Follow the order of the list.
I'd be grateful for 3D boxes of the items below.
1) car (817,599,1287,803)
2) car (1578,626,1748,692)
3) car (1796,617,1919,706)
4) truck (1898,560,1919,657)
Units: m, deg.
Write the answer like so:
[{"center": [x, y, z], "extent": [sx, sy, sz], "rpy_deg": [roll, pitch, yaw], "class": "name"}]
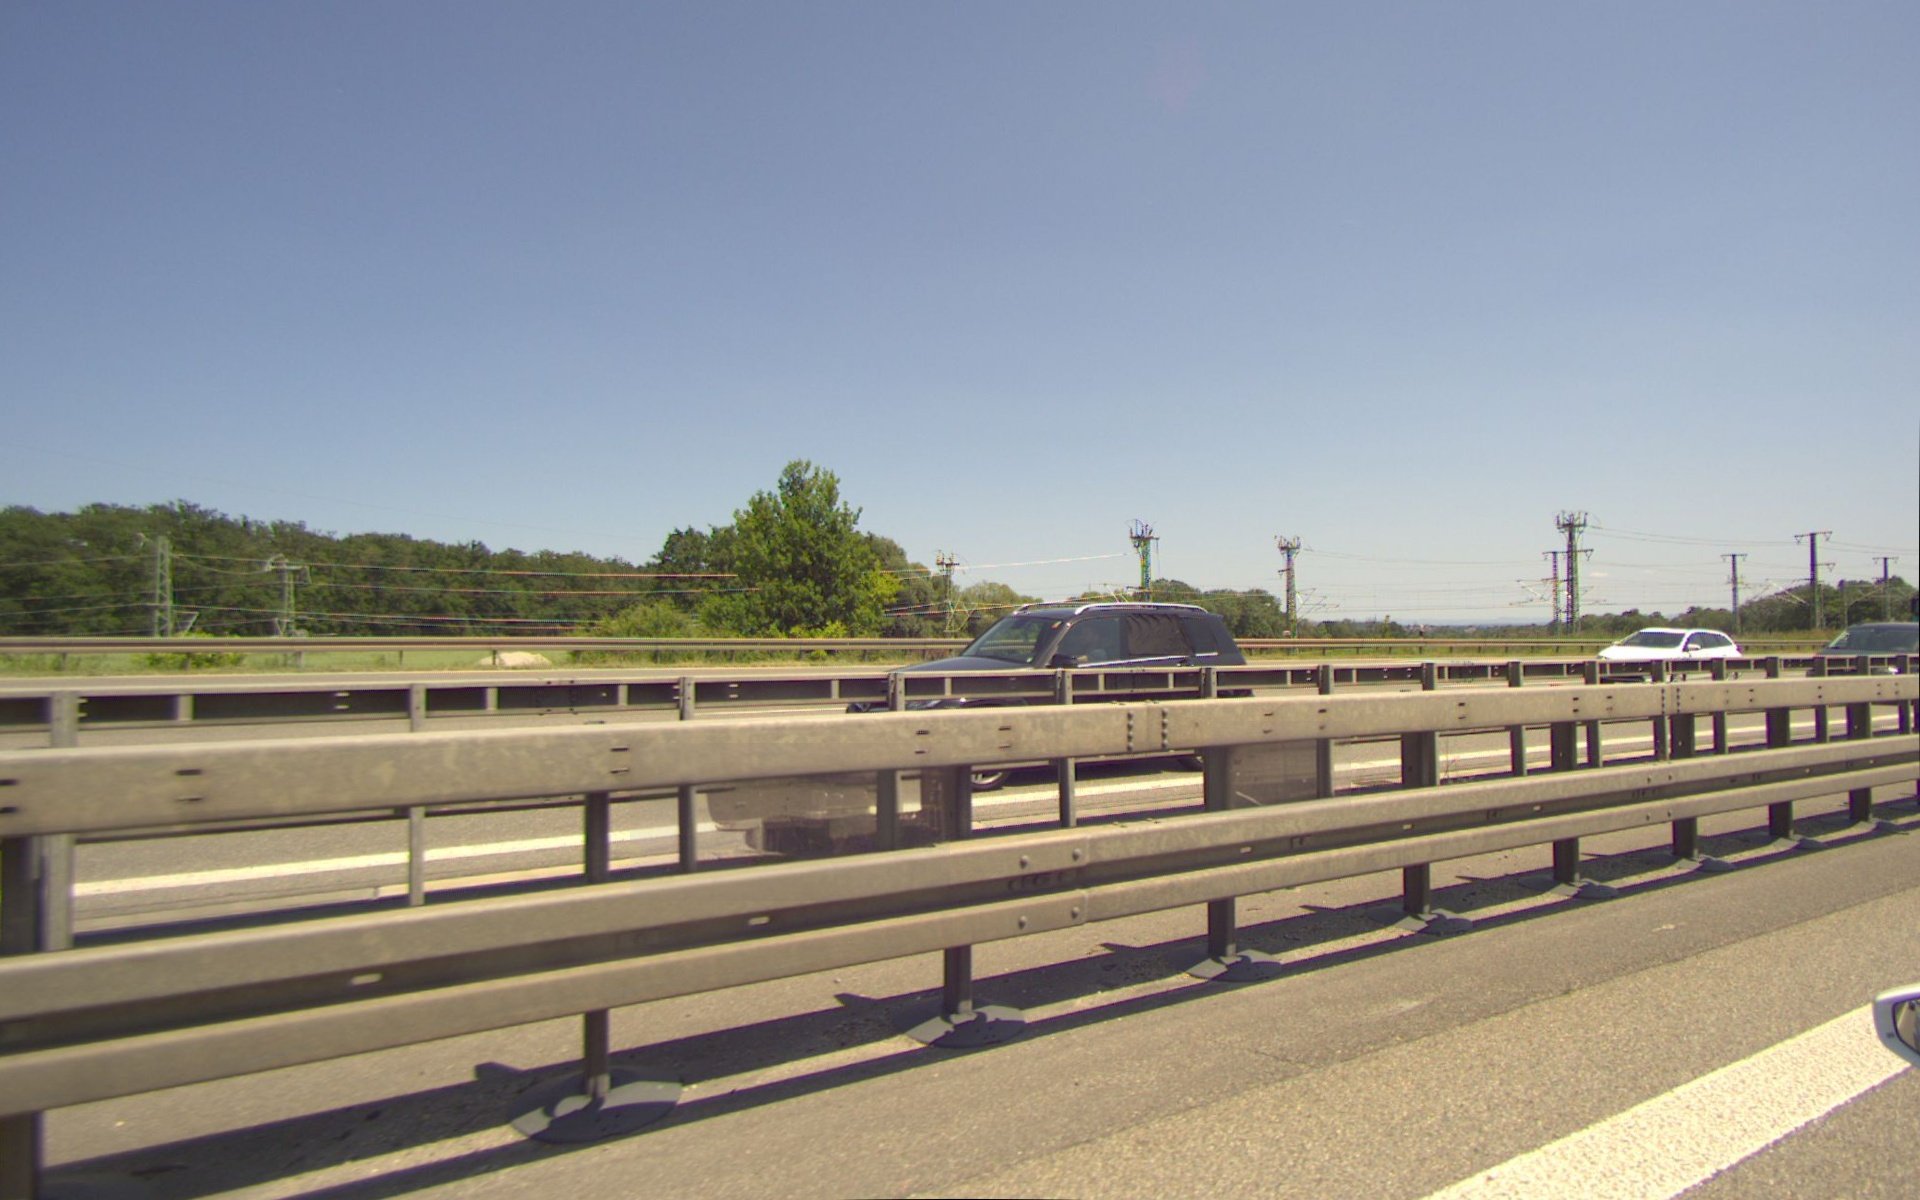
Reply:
[{"center": [1.038, 0.882, 10.263], "extent": [4.643, 1.691, 1.747], "rpy_deg": [1, -1, -30], "class": "car"}, {"center": [17.527, 1.412, 24.999], "extent": [4.580, 1.501, 1.747], "rpy_deg": [1, -1, -30], "class": "car"}, {"center": [20.389, 1.279, 21.997], "extent": [4.666, 1.764, 1.747], "rpy_deg": [1, -1, -30], "class": "car"}, {"center": [46.030, 0.487, 45.908], "extent": [6.897, 4.301, 2.746], "rpy_deg": [2, -1, -30], "class": "truck"}]
